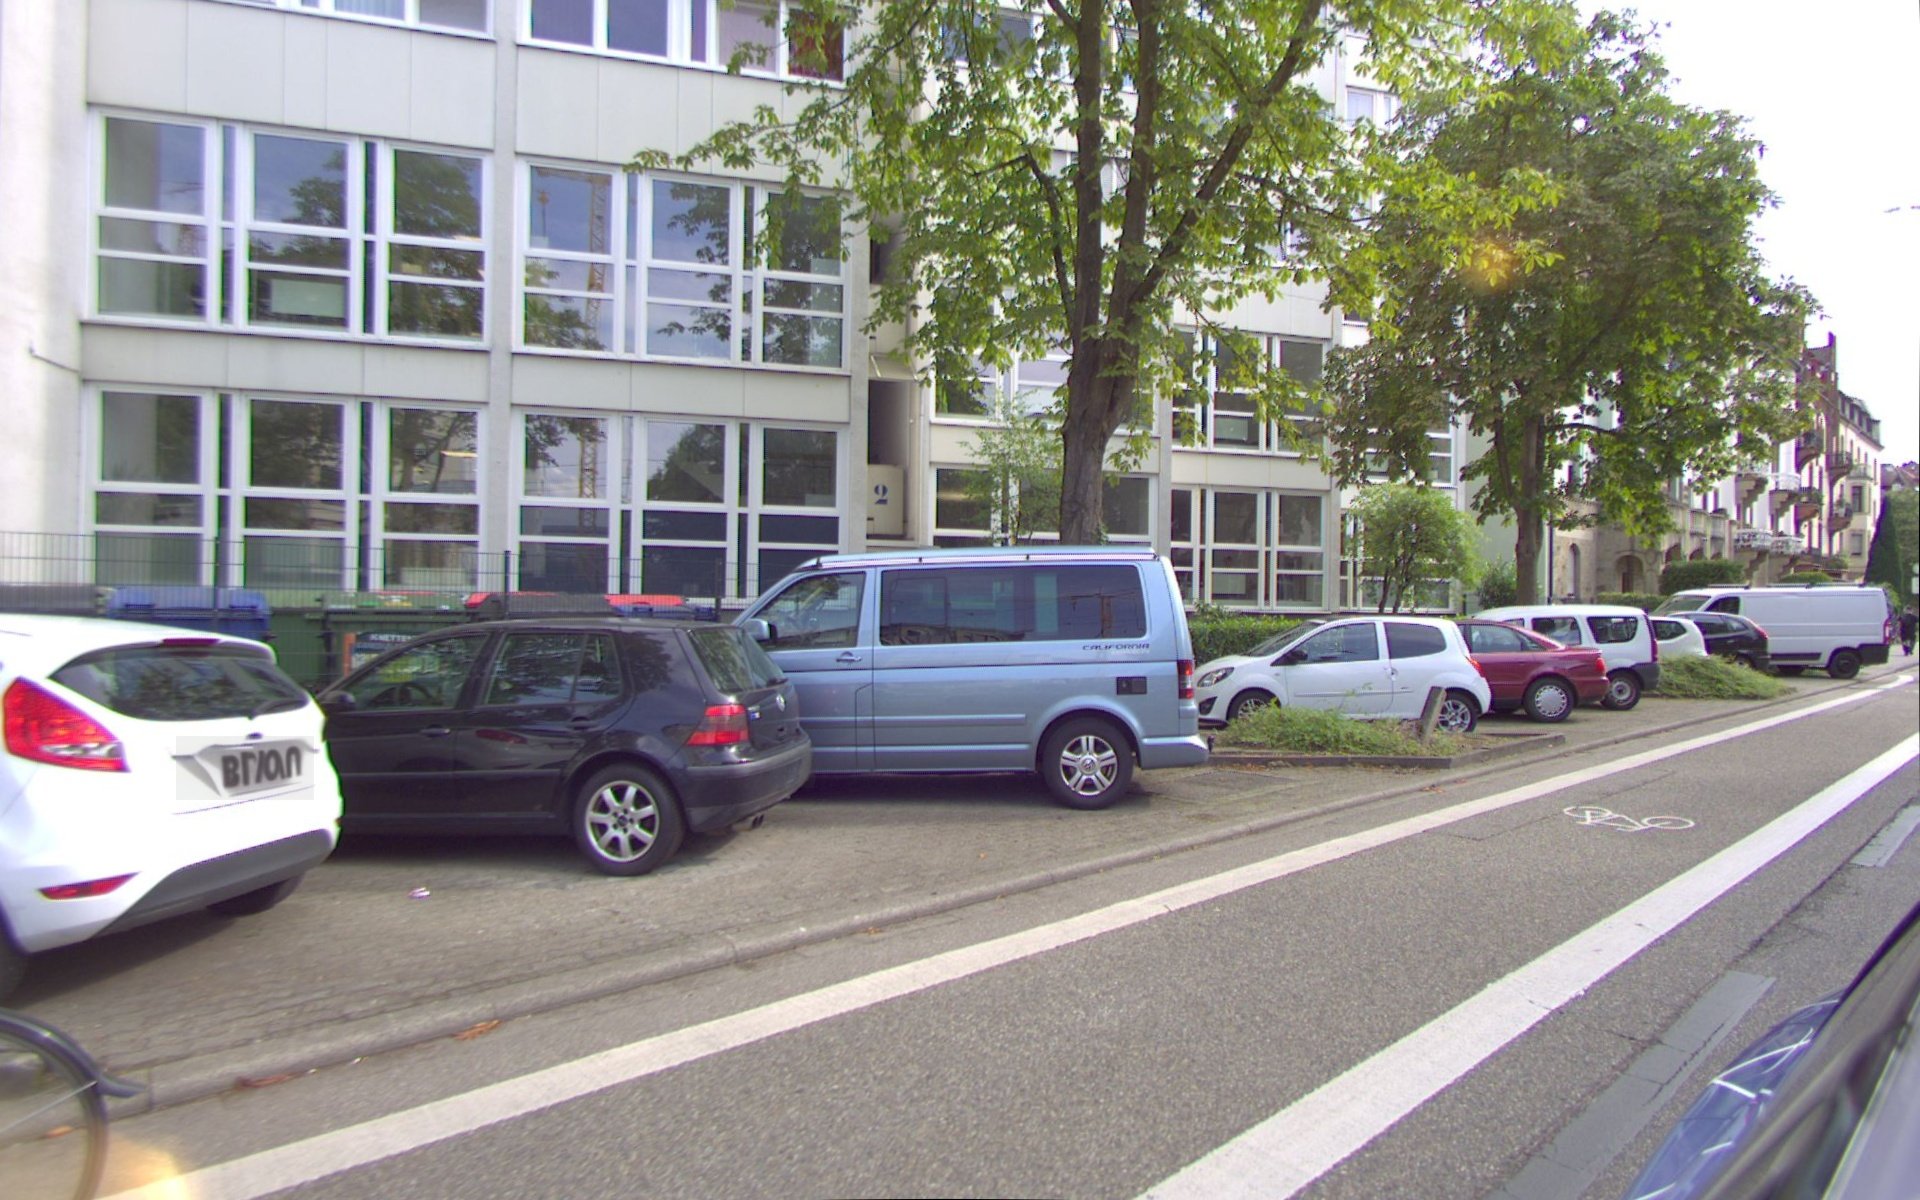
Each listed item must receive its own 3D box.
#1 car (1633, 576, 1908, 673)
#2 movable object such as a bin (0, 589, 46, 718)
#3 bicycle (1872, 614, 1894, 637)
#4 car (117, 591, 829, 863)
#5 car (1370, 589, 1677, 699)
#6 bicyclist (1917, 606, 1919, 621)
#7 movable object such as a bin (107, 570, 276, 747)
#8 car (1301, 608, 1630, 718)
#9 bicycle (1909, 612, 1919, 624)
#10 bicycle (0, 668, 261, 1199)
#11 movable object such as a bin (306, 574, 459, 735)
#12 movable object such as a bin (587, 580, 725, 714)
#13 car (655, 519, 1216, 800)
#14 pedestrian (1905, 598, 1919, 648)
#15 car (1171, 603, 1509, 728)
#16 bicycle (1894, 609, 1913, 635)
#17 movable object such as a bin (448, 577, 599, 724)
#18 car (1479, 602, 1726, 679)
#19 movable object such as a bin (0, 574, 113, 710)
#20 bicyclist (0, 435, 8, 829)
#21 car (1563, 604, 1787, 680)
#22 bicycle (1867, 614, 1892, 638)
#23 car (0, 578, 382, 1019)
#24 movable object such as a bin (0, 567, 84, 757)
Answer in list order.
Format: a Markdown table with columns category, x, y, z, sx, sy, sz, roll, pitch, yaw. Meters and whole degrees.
| category | x | y | z | sx | sy | sz | roll | pitch | yaw |
| --- | --- | --- | --- | --- | --- | --- | --- | --- | --- |
| car | 20.301 | 0.578 | 25.603 | 4.874 | 2.319 | 2.380 | 0 | 0 | 7 |
| movable object such as a bin | -10.862 | 0.575 | 10.967 | 1.056 | 1.385 | 1.037 | 0 | -1 | -17 |
| bicycle | 38.426 | 1.046 | 42.134 | 1.636 | 0.918 | 0.486 | 0 | 1 | -41 |
| car | -2.835 | 0.686 | 6.441 | 3.758 | 1.478 | 1.676 | 0 | 0 | 3 |
| car | 9.107 | 0.676 | 16.618 | 4.035 | 1.689 | 1.687 | 0 | 0 | 4 |
| bicyclist | 87.063 | 1.205 | 91.361 | 0.603 | 1.382 | 0.774 | 0 | 0 | -3 |
| movable object such as a bin | -7.232 | 0.512 | 9.530 | 1.192 | 1.527 | 1.071 | 1 | -1 | -40 |
| car | 7.153 | 0.851 | 14.676 | 3.908 | 1.451 | 1.686 | 0 | 0 | 7 |
| bicycle | 87.056 | 1.610 | 91.330 | 0.603 | 1.038 | 2.202 | 0 | 0 | -3 |
| bicycle | -2.502 | 0.804 | 1.721 | 2.088 | 1.265 | 0.658 | 1 | -1 | -42 |
| movable object such as a bin | -5.940 | 0.522 | 10.410 | 1.192 | 1.527 | 1.071 | 1 | -1 | -40 |
| movable object such as a bin | -3.717 | 0.544 | 12.384 | 1.299 | 1.527 | 1.071 | 1 | -1 | -40 |
| car | -0.169 | 0.428 | 8.451 | 4.200 | 2.040 | 1.829 | 0 | 0 | 5 |
| pedestrian | 34.635 | 0.843 | 36.415 | 0.880 | 1.754 | 0.787 | 1 | 2 | -41 |
| car | 4.646 | 0.772 | 12.820 | 3.650 | 1.451 | 1.687 | 0 | 0 | 5 |
| bicycle | 42.903 | 0.988 | 46.012 | 1.887 | 1.156 | 0.392 | 1 | 1 | -41 |
| movable object such as a bin | -4.887 | 0.533 | 11.339 | 1.299 | 1.527 | 1.071 | 1 | -1 | -40 |
| car | 13.395 | 0.807 | 21.288 | 4.019 | 1.530 | 1.687 | 0 | 0 | 5 |
| movable object such as a bin | -11.195 | 0.488 | 12.284 | 1.056 | 1.582 | 1.037 | 0 | -1 | -17 |
| bicyclist | -2.469 | 0.390 | 1.747 | 1.158 | 1.482 | 0.658 | 1 | -1 | -42 |
| car | 16.415 | 0.930 | 23.397 | 3.890 | 1.669 | 1.687 | 0 | 0 | 5 |
| bicycle | 37.169 | 1.029 | 40.904 | 1.634 | 0.918 | 0.487 | 0 | 1 | -38 |
| car | -4.787 | 0.664 | 4.316 | 3.758 | 1.478 | 1.639 | 0 | 0 | 3 |
| movable object such as a bin | -8.223 | 0.500 | 8.460 | 1.310 | 1.527 | 1.071 | 1 | -1 | -40 |
